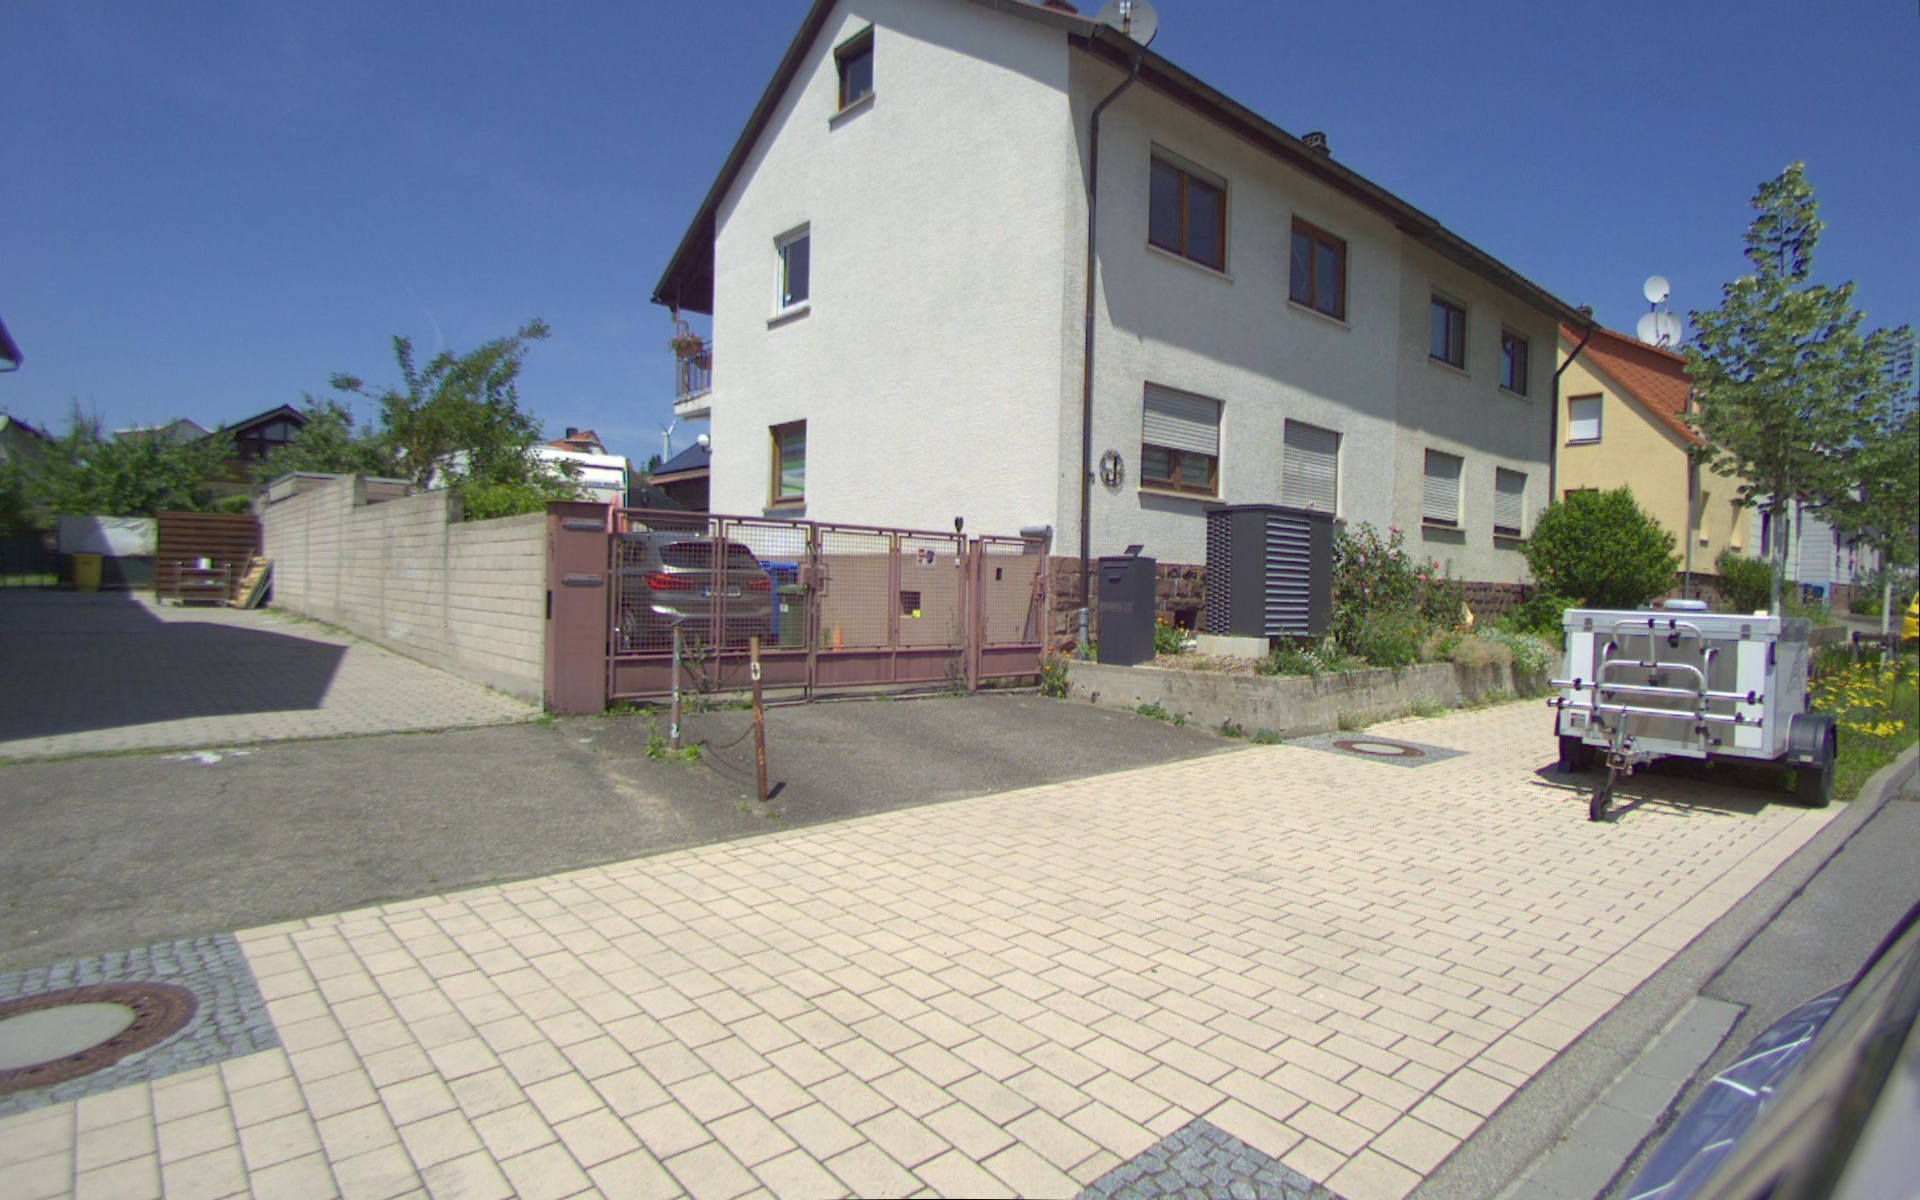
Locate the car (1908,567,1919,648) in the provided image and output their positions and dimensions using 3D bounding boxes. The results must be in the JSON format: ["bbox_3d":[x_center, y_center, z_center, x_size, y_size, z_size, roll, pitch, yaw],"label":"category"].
[{"bbox_3d":[27.131,0.228,26.981,5.529,2.037,2.194,-1,6,-43],"label":"car"}]

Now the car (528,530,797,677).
[{"bbox_3d":[-4.059,-0.077,13.400,1.965,1.623,3.995,-1,4,-41],"label":"car"}]

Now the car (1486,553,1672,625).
[{"bbox_3d":[17.108,-0.364,28.091,1.843,1.696,3.993,0,4,-43],"label":"car"}]

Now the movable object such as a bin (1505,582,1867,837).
[{"bbox_3d":[5.419,0.607,7.452,2.990,1.434,1.574,-1,2,-42],"label":"movable object such as a bin"}]
